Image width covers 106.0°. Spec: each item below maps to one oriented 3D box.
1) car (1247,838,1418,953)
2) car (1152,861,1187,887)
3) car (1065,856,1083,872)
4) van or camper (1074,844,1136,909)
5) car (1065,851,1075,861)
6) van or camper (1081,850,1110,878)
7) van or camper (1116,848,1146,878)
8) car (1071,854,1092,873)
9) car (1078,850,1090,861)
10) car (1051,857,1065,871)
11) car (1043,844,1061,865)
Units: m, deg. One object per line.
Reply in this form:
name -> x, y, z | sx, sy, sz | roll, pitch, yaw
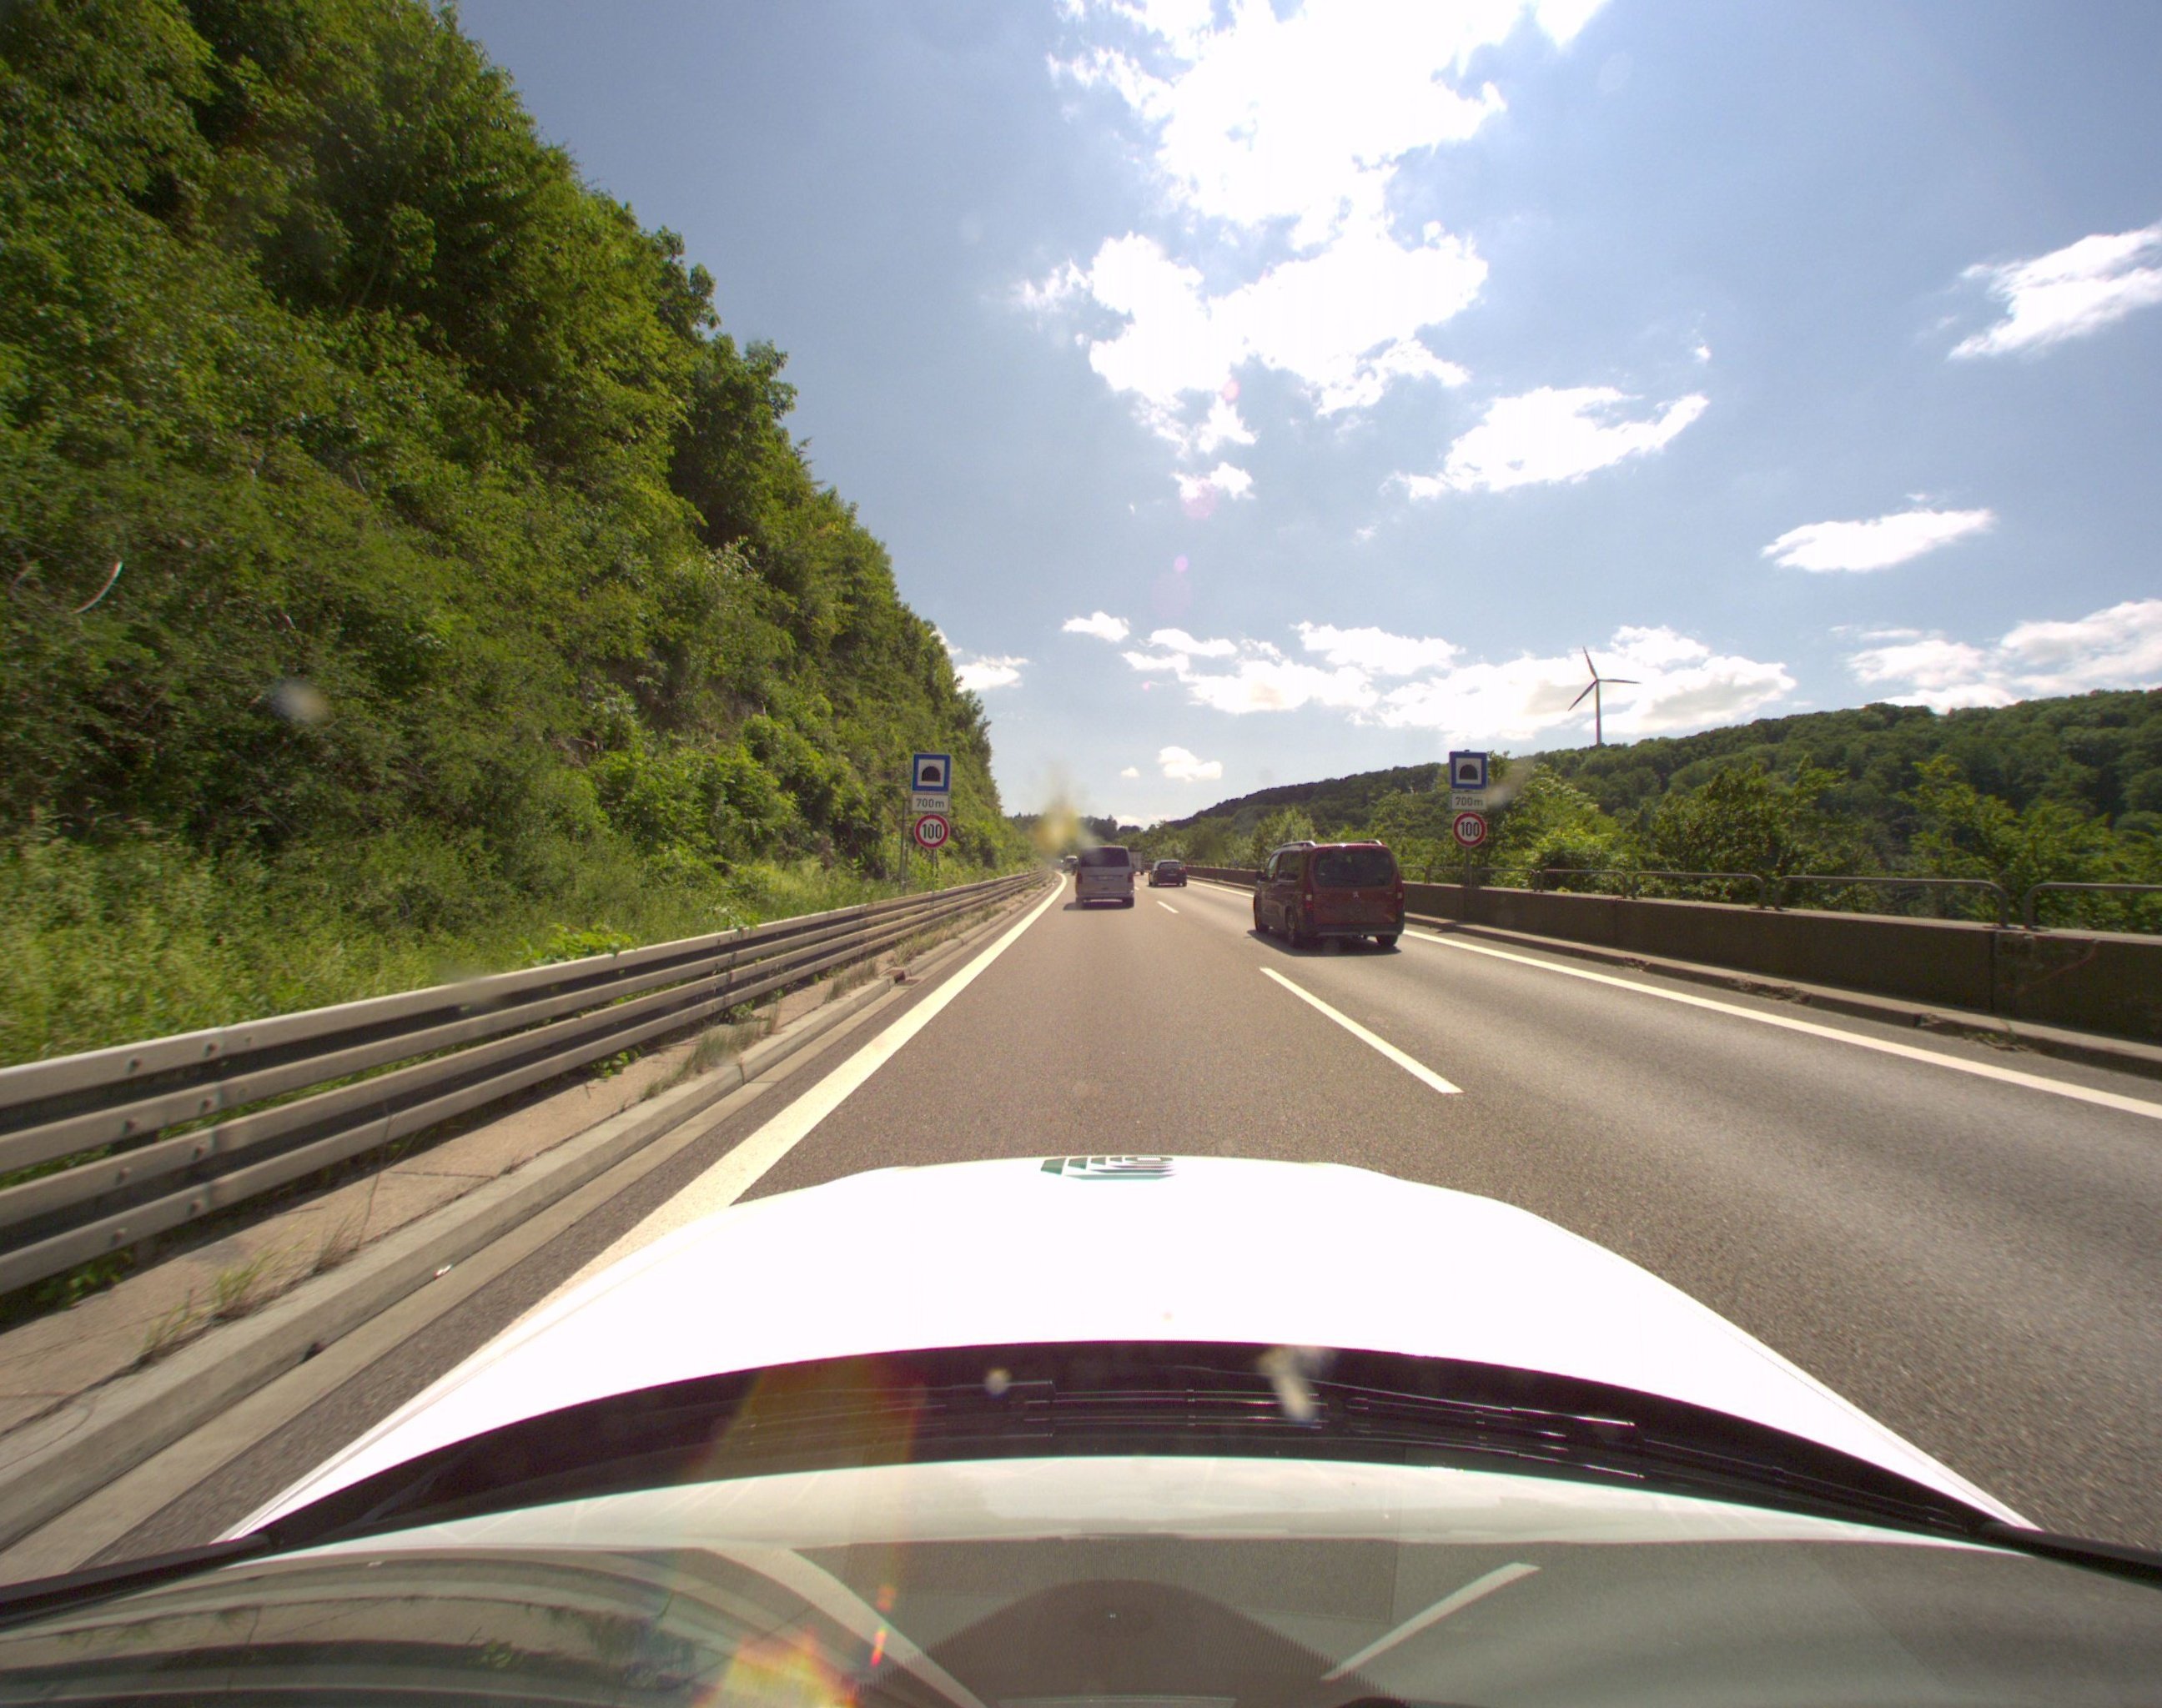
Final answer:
car -> 4.487, 0.694, 15.309 | 1.827, 1.784, 4.677 | -1, -1, 1
car -> 4.836, 1.070, 45.030 | 1.761, 1.376, 3.596 | -1, 0, 3
car -> -0.814, 1.194, 95.215 | 1.987, 1.817, 4.000 | -1, 0, 0
van or camper -> 0.743, 0.725, 27.294 | 1.870, 1.949, 4.293 | -2, -1, 0
car -> -2.335, 0.485, 167.593 | 1.988, 2.014, 3.997 | -1, 0, -2
van or camper -> 1.973, 1.362, 113.217 | 3.270, 3.789, 8.099 | 0, 0, -4
van or camper -> 4.552, 0.818, 74.704 | 2.257, 2.551, 4.734 | -2, -1, -1
car -> 0.064, 0.922, 79.436 | 1.987, 1.817, 4.000 | -1, 0, 0
car -> 0.494, 0.303, 152.263 | 1.990, 2.014, 3.994 | -1, 0, -4
car -> -3.282, 1.475, 116.947 | 1.989, 1.915, 3.996 | -1, 0, -2
car -> -7.031, 0.200, 197.545 | 4.036, 4.871, 10.094 | 0, 0, -4
